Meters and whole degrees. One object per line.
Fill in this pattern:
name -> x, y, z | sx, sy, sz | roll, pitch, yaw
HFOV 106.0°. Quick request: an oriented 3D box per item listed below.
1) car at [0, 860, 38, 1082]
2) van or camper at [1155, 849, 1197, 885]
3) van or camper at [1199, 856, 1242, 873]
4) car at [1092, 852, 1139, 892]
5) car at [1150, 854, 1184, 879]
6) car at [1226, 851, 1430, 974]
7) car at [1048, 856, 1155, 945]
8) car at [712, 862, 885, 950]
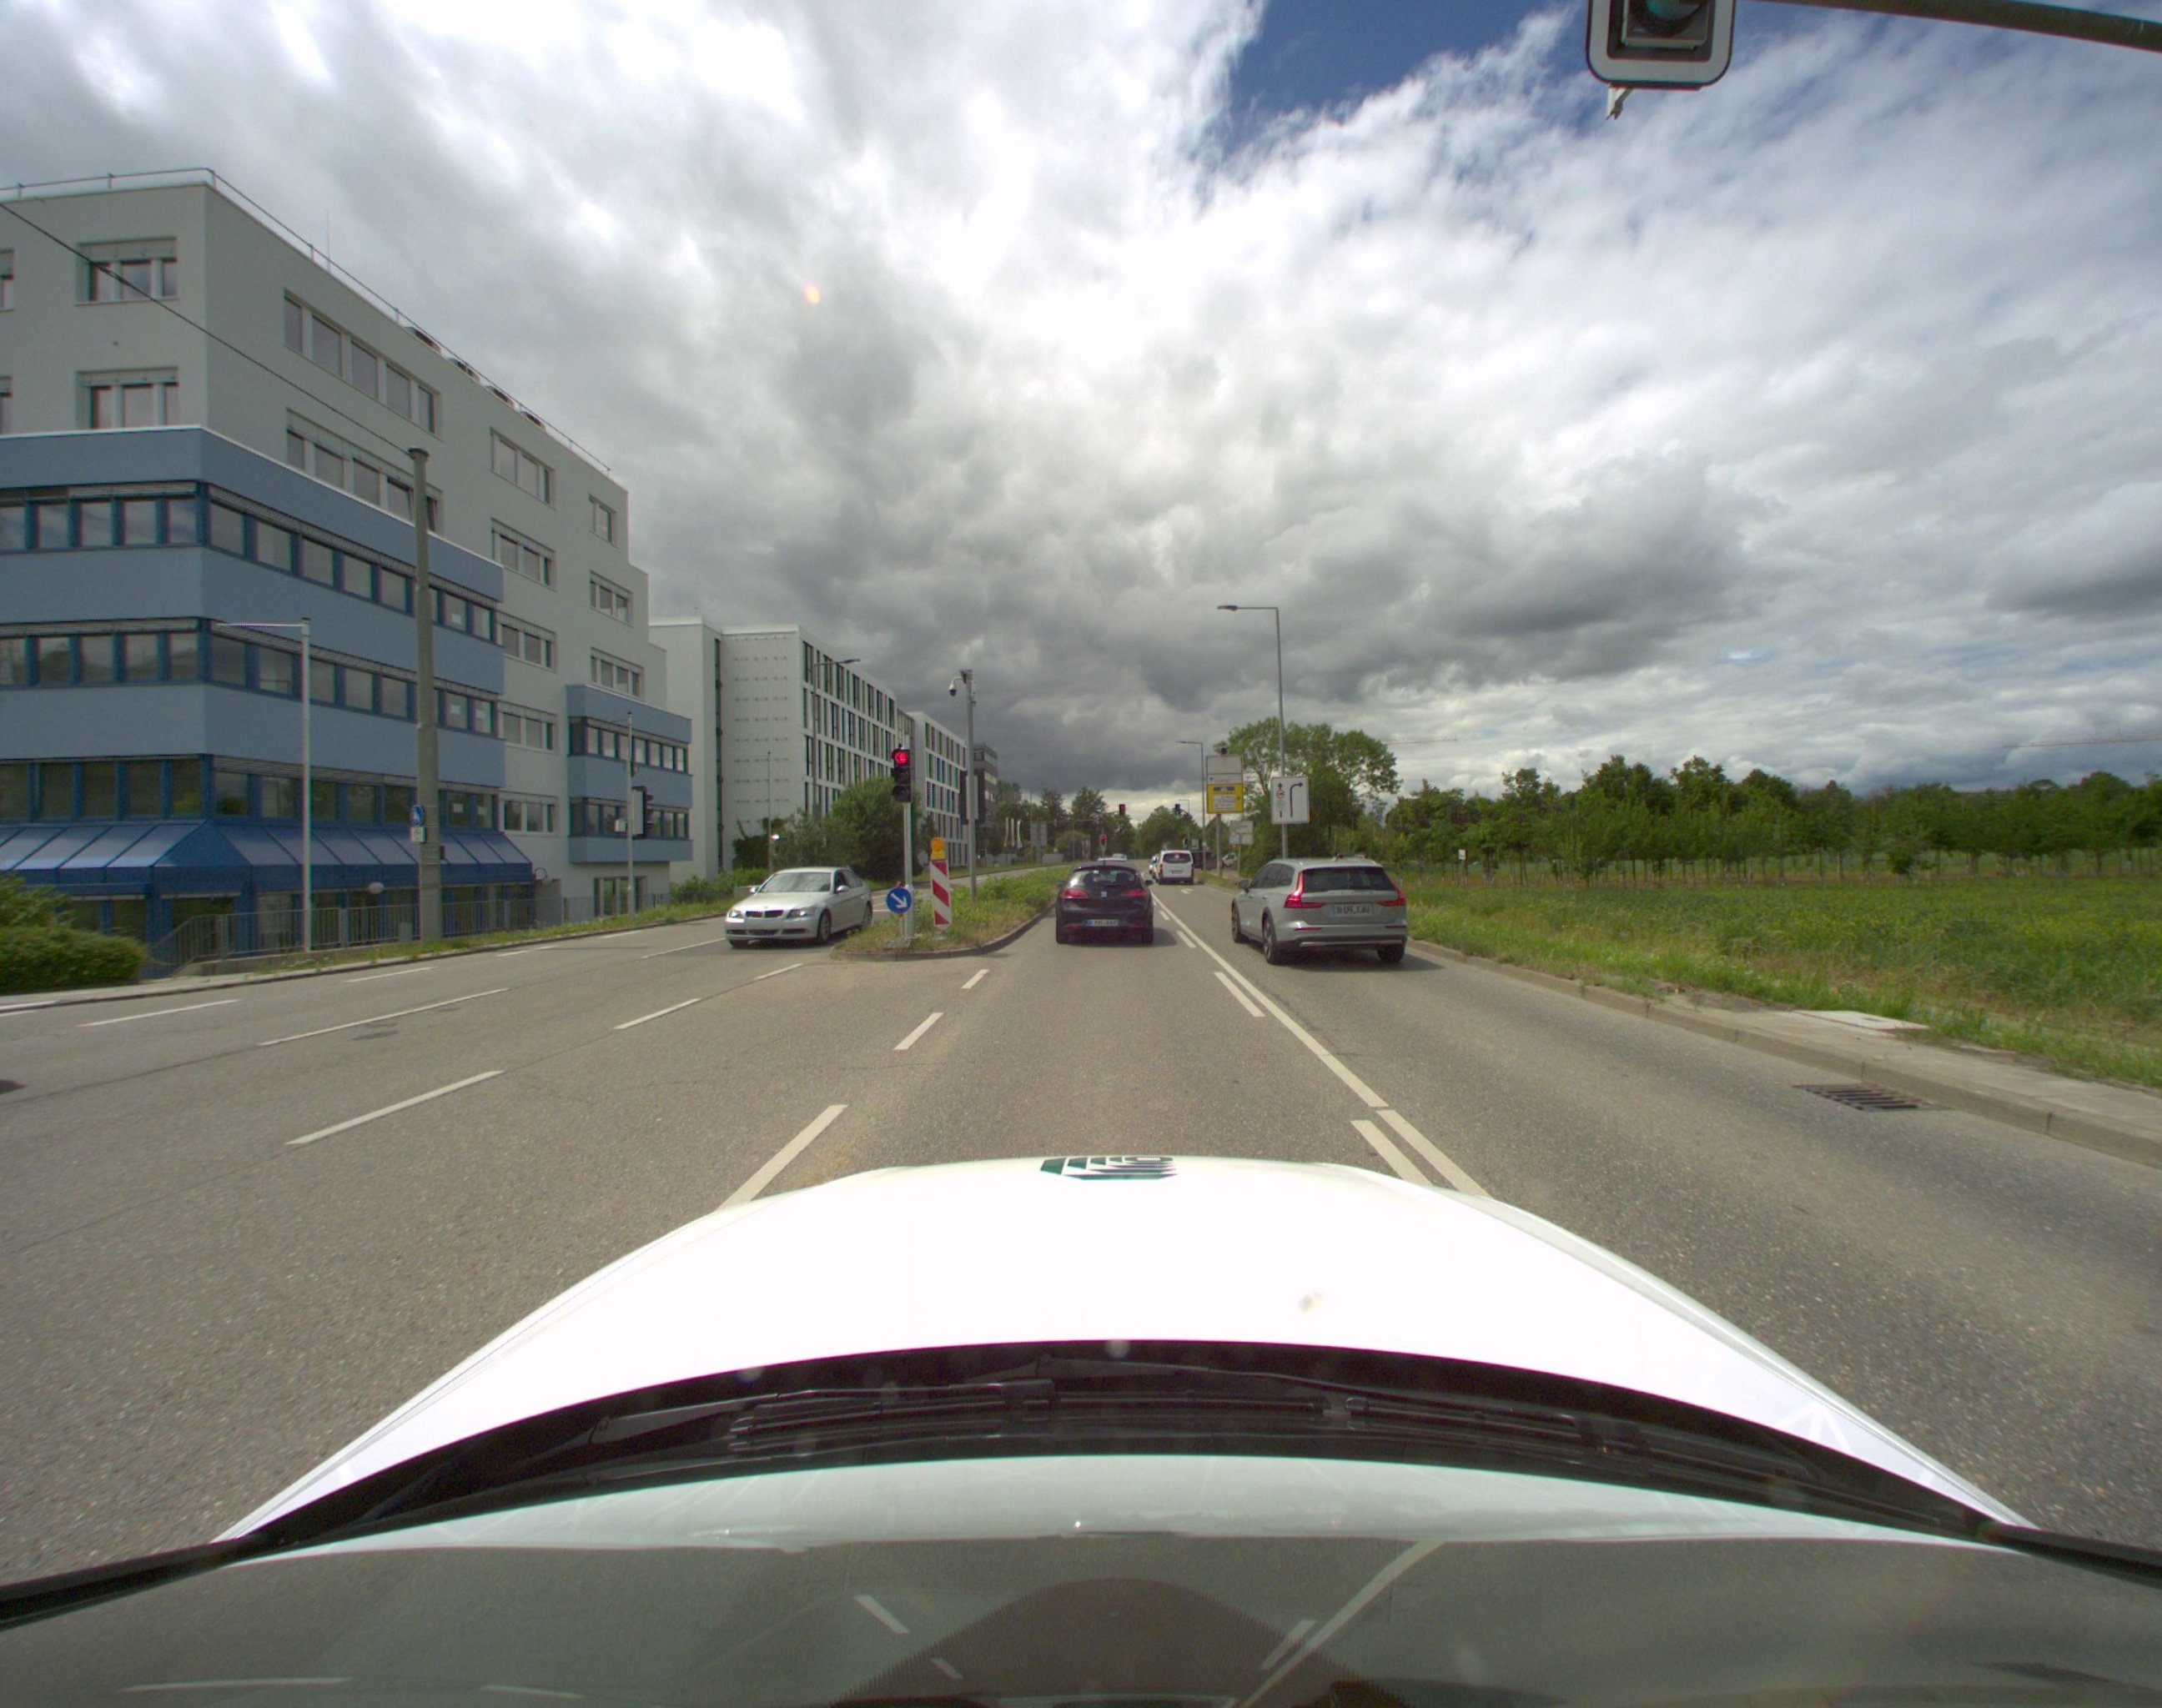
car -> -9.427, 0.922, 4.120 | 1.985, 1.702, 4.765 | -1, 0, 4
van or camper -> 5.224, 0.684, 45.224 | 1.985, 1.860, 4.947 | -1, 0, 3
van or camper -> 16.735, 1.270, 97.884 | 4.783, 2.014, 2.000 | -1, 0, 1
car -> 1.400, 0.691, 33.146 | 1.766, 1.491, 3.584 | -1, 0, 2
car -> 5.762, 0.834, 55.184 | 1.986, 1.632, 4.002 | -1, 0, 2
car -> 3.523, 0.741, 12.543 | 1.856, 1.518, 4.447 | -1, 0, 1
car -> 0.474, 0.780, 15.323 | 1.765, 1.452, 3.586 | 0, 0, 4
car -> -5.443, 0.931, 16.376 | 1.785, 1.447, 4.424 | -1, 0, 2
